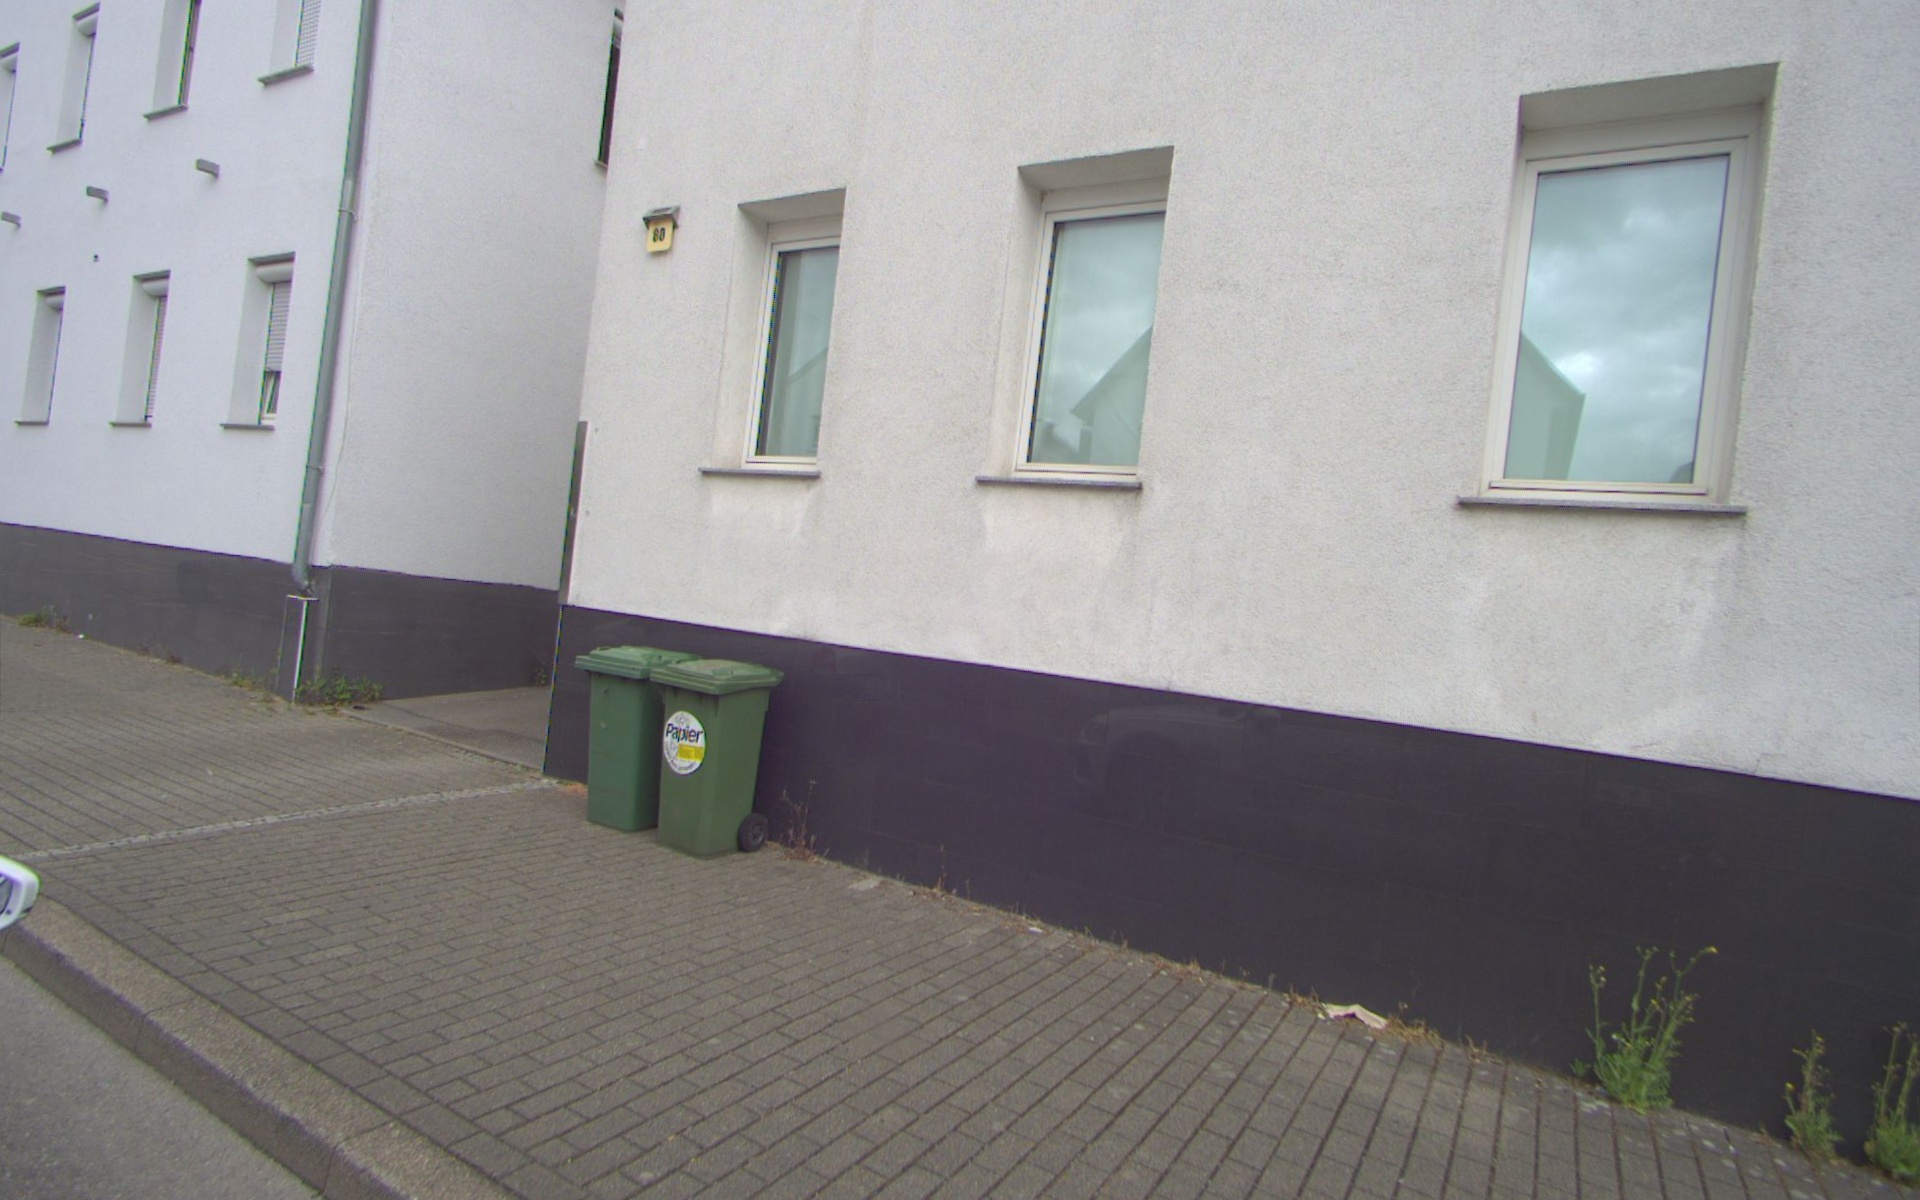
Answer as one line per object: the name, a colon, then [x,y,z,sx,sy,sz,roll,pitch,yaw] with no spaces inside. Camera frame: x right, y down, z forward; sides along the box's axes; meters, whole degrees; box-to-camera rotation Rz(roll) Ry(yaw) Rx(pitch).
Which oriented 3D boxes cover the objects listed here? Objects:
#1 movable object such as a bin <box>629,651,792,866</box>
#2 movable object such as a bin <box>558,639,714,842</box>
movable object such as a bin: [-1.246,0.761,5.052,0.479,0.953,0.540,7,2,32]
movable object such as a bin: [-1.704,0.708,5.309,0.479,0.953,0.540,7,2,32]
